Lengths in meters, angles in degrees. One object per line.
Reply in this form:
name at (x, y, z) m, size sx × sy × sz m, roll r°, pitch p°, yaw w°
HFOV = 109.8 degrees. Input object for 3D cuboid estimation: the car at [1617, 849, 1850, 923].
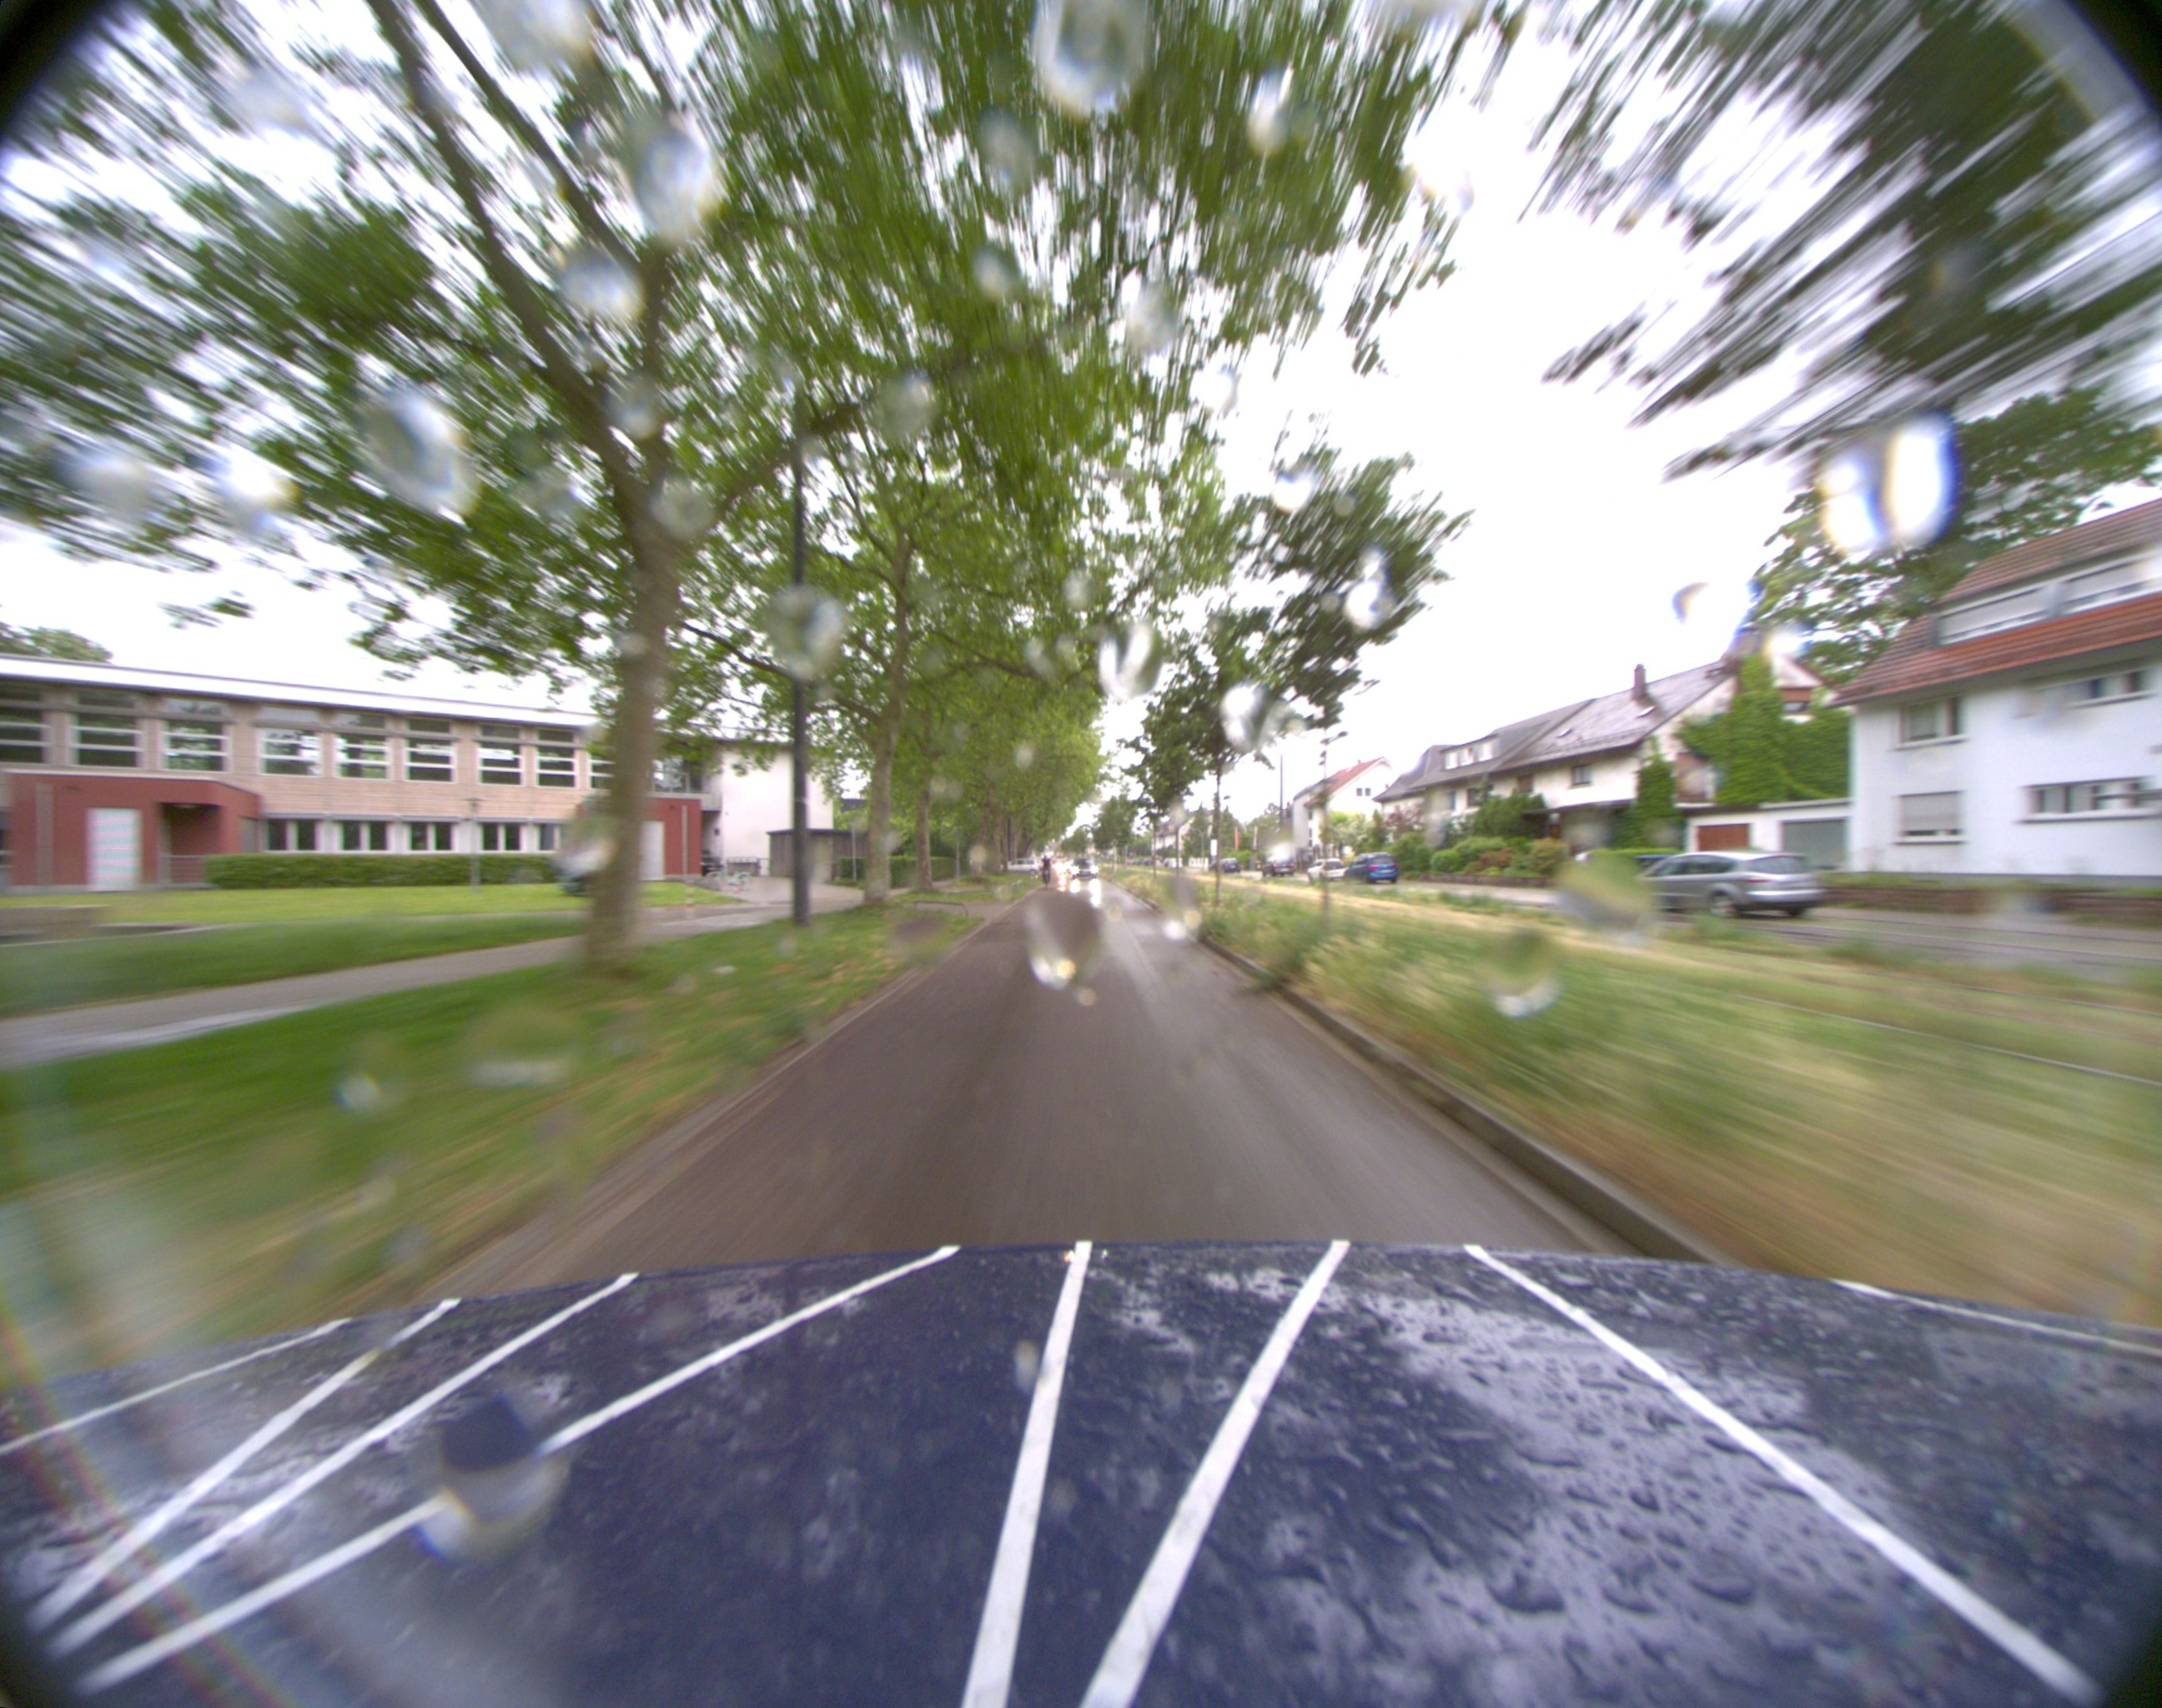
car at (16.375, 0.724, 19.495) m, size 1.998 × 1.604 × 4.684 m, roll -2°, pitch 0°, yaw 1°

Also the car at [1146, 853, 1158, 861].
car at (13.126, 0.554, 140.240) m, size 1.759 × 1.507 × 3.854 m, roll -3°, pitch 0°, yaw 0°

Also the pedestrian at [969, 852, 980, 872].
pedestrian at (-7.930, 0.588, 56.754) m, size 0.748 × 1.529 × 0.585 m, roll 0°, pitch 1°, yaw -1°

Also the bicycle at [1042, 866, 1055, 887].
bicycle at (-1.681, 1.160, 39.364) m, size 0.659 × 1.008 × 2.256 m, roll 0°, pitch 1°, yaw -2°

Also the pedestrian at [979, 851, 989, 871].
pedestrian at (-7.517, 0.554, 58.736) m, size 0.748 × 1.529 × 0.585 m, roll 0°, pitch 1°, yaw -8°

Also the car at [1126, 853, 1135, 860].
car at (11.245, 0.534, 173.067) m, size 1.759 × 1.507 × 3.854 m, roll -3°, pitch 0°, yaw 0°

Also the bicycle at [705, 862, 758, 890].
bicycle at (-14.450, 0.906, 31.439) m, size 0.519 × 1.115 × 1.942 m, roll 3°, pitch 2°, yaw 43°

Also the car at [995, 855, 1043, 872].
car at (-5.593, 0.836, 68.552) m, size 4.020 × 1.478 × 1.636 m, roll 0°, pitch 0°, yaw -20°

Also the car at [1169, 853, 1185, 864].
car at (14.278, 0.672, 113.080) m, size 1.759 × 1.507 × 3.854 m, roll -3°, pitch 0°, yaw 0°

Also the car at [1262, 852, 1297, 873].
car at (16.100, 0.666, 61.814) m, size 1.759 × 1.604 × 4.110 m, roll -3°, pitch 0°, yaw 0°

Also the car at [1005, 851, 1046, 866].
car at (-5.818, 0.467, 79.869) m, size 4.020 × 1.478 × 1.636 m, roll 0°, pitch 0°, yaw -20°

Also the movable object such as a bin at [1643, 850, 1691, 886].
movable object such as a bin at (21.793, 0.518, 28.269) m, size 1.187 × 1.290 × 0.739 m, roll -2°, pitch 1°, yaw 1°

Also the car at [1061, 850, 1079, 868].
car at (-1.120, 0.505, 79.274) m, size 1.767 × 1.715 × 3.933 m, roll -2°, pitch 1°, yaw -1°

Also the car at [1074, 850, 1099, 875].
car at (0.390, 0.627, 57.592) m, size 1.767 × 1.715 × 3.934 m, roll -3°, pitch 0°, yaw 0°

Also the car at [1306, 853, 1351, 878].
car at (16.321, 0.741, 50.312) m, size 1.718 × 1.520 × 3.601 m, roll -3°, pitch 0°, yaw -1°

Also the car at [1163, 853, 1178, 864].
car at (13.900, 0.713, 117.627) m, size 1.759 × 1.507 × 3.854 m, roll -3°, pitch 0°, yaw 0°

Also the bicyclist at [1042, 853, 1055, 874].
bicyclist at (-1.683, 0.488, 39.205) m, size 0.622 × 1.078 × 0.624 m, roll 0°, pitch 1°, yaw -2°

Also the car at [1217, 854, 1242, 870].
car at (15.482, 0.820, 79.294) m, size 1.759 × 1.507 × 3.854 m, roll -3°, pitch 0°, yaw 0°

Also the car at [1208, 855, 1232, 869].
car at (15.293, 0.842, 83.750) m, size 1.893 × 1.490 × 4.000 m, roll 0°, pitch 0°, yaw 1°

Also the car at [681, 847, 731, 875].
car at (-20.862, 0.373, 42.225) m, size 1.752 × 1.443 × 3.572 m, roll -2°, pitch 2°, yaw -38°

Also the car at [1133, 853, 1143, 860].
car at (12.027, 0.489, 161.287) m, size 1.759 × 1.507 × 3.854 m, roll -3°, pitch 0°, yaw 0°

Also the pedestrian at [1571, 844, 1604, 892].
pedestrian at (18.848, 0.523, 28.277) m, size 0.599 × 1.757 × 0.869 m, roll -2°, pitch 1°, yaw 0°

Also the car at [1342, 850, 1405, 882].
car at (16.607, 0.638, 43.317) m, size 1.849 × 1.696 × 4.182 m, roll -2°, pitch 0°, yaw -1°
